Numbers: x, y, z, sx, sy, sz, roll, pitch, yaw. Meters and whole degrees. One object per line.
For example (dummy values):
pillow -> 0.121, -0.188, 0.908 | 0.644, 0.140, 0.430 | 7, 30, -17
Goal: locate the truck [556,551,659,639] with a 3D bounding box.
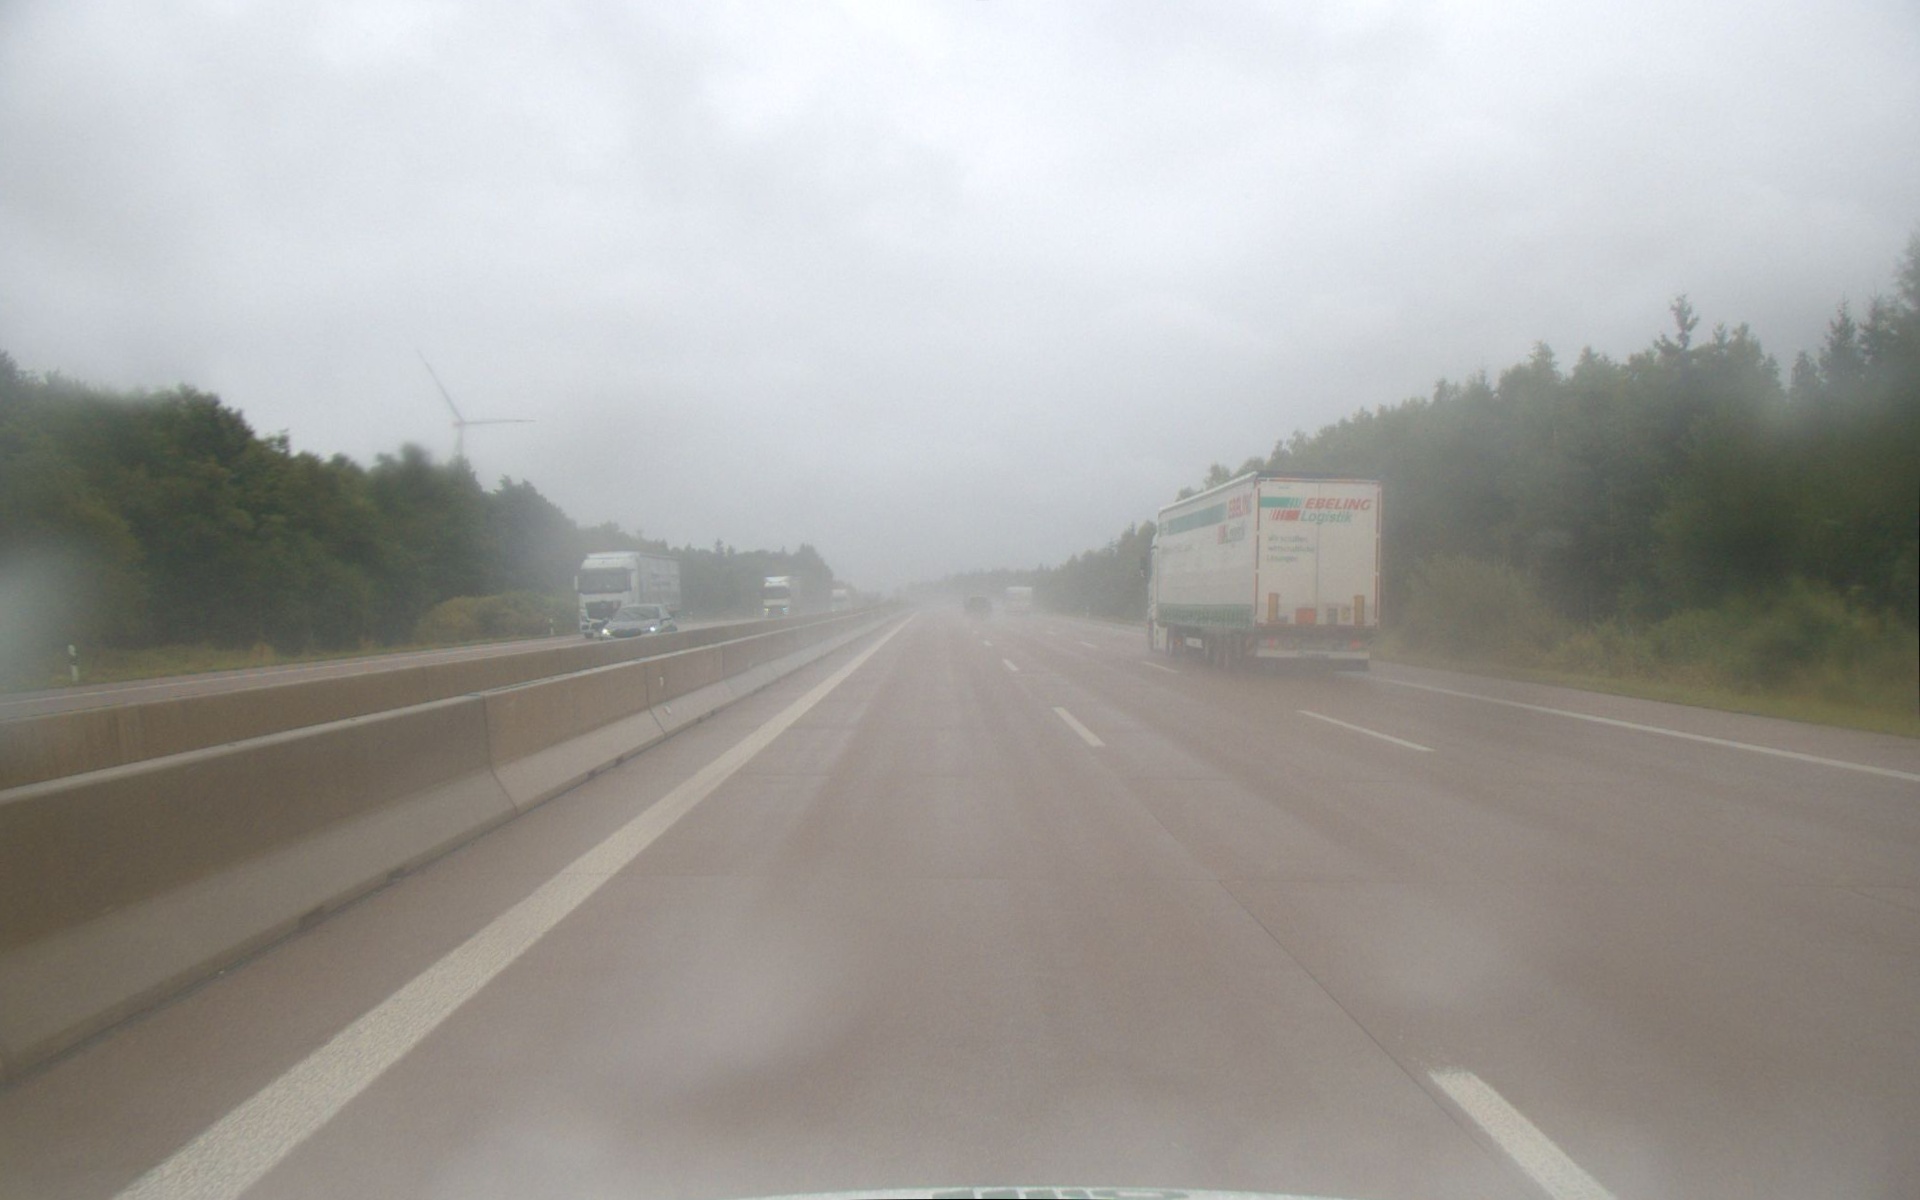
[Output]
truck -> -17.238, -0.229, 81.446 | 3.403, 3.956, 7.461 | -3, 0, -2

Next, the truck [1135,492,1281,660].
truck -> 6.640, -0.646, 45.215 | 2.822, 4.178, 6.348 | -1, 1, -1

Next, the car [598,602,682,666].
car -> -9.440, 0.964, 49.050 | 1.752, 1.827, 3.876 | 0, 0, 0

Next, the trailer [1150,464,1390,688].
trailer -> 6.789, -0.543, 38.755 | 2.795, 4.305, 13.128 | -1, 1, -1

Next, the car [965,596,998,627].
car -> 1.420, 0.784, 113.116 | 2.129, 2.016, 4.129 | -2, 0, 0
